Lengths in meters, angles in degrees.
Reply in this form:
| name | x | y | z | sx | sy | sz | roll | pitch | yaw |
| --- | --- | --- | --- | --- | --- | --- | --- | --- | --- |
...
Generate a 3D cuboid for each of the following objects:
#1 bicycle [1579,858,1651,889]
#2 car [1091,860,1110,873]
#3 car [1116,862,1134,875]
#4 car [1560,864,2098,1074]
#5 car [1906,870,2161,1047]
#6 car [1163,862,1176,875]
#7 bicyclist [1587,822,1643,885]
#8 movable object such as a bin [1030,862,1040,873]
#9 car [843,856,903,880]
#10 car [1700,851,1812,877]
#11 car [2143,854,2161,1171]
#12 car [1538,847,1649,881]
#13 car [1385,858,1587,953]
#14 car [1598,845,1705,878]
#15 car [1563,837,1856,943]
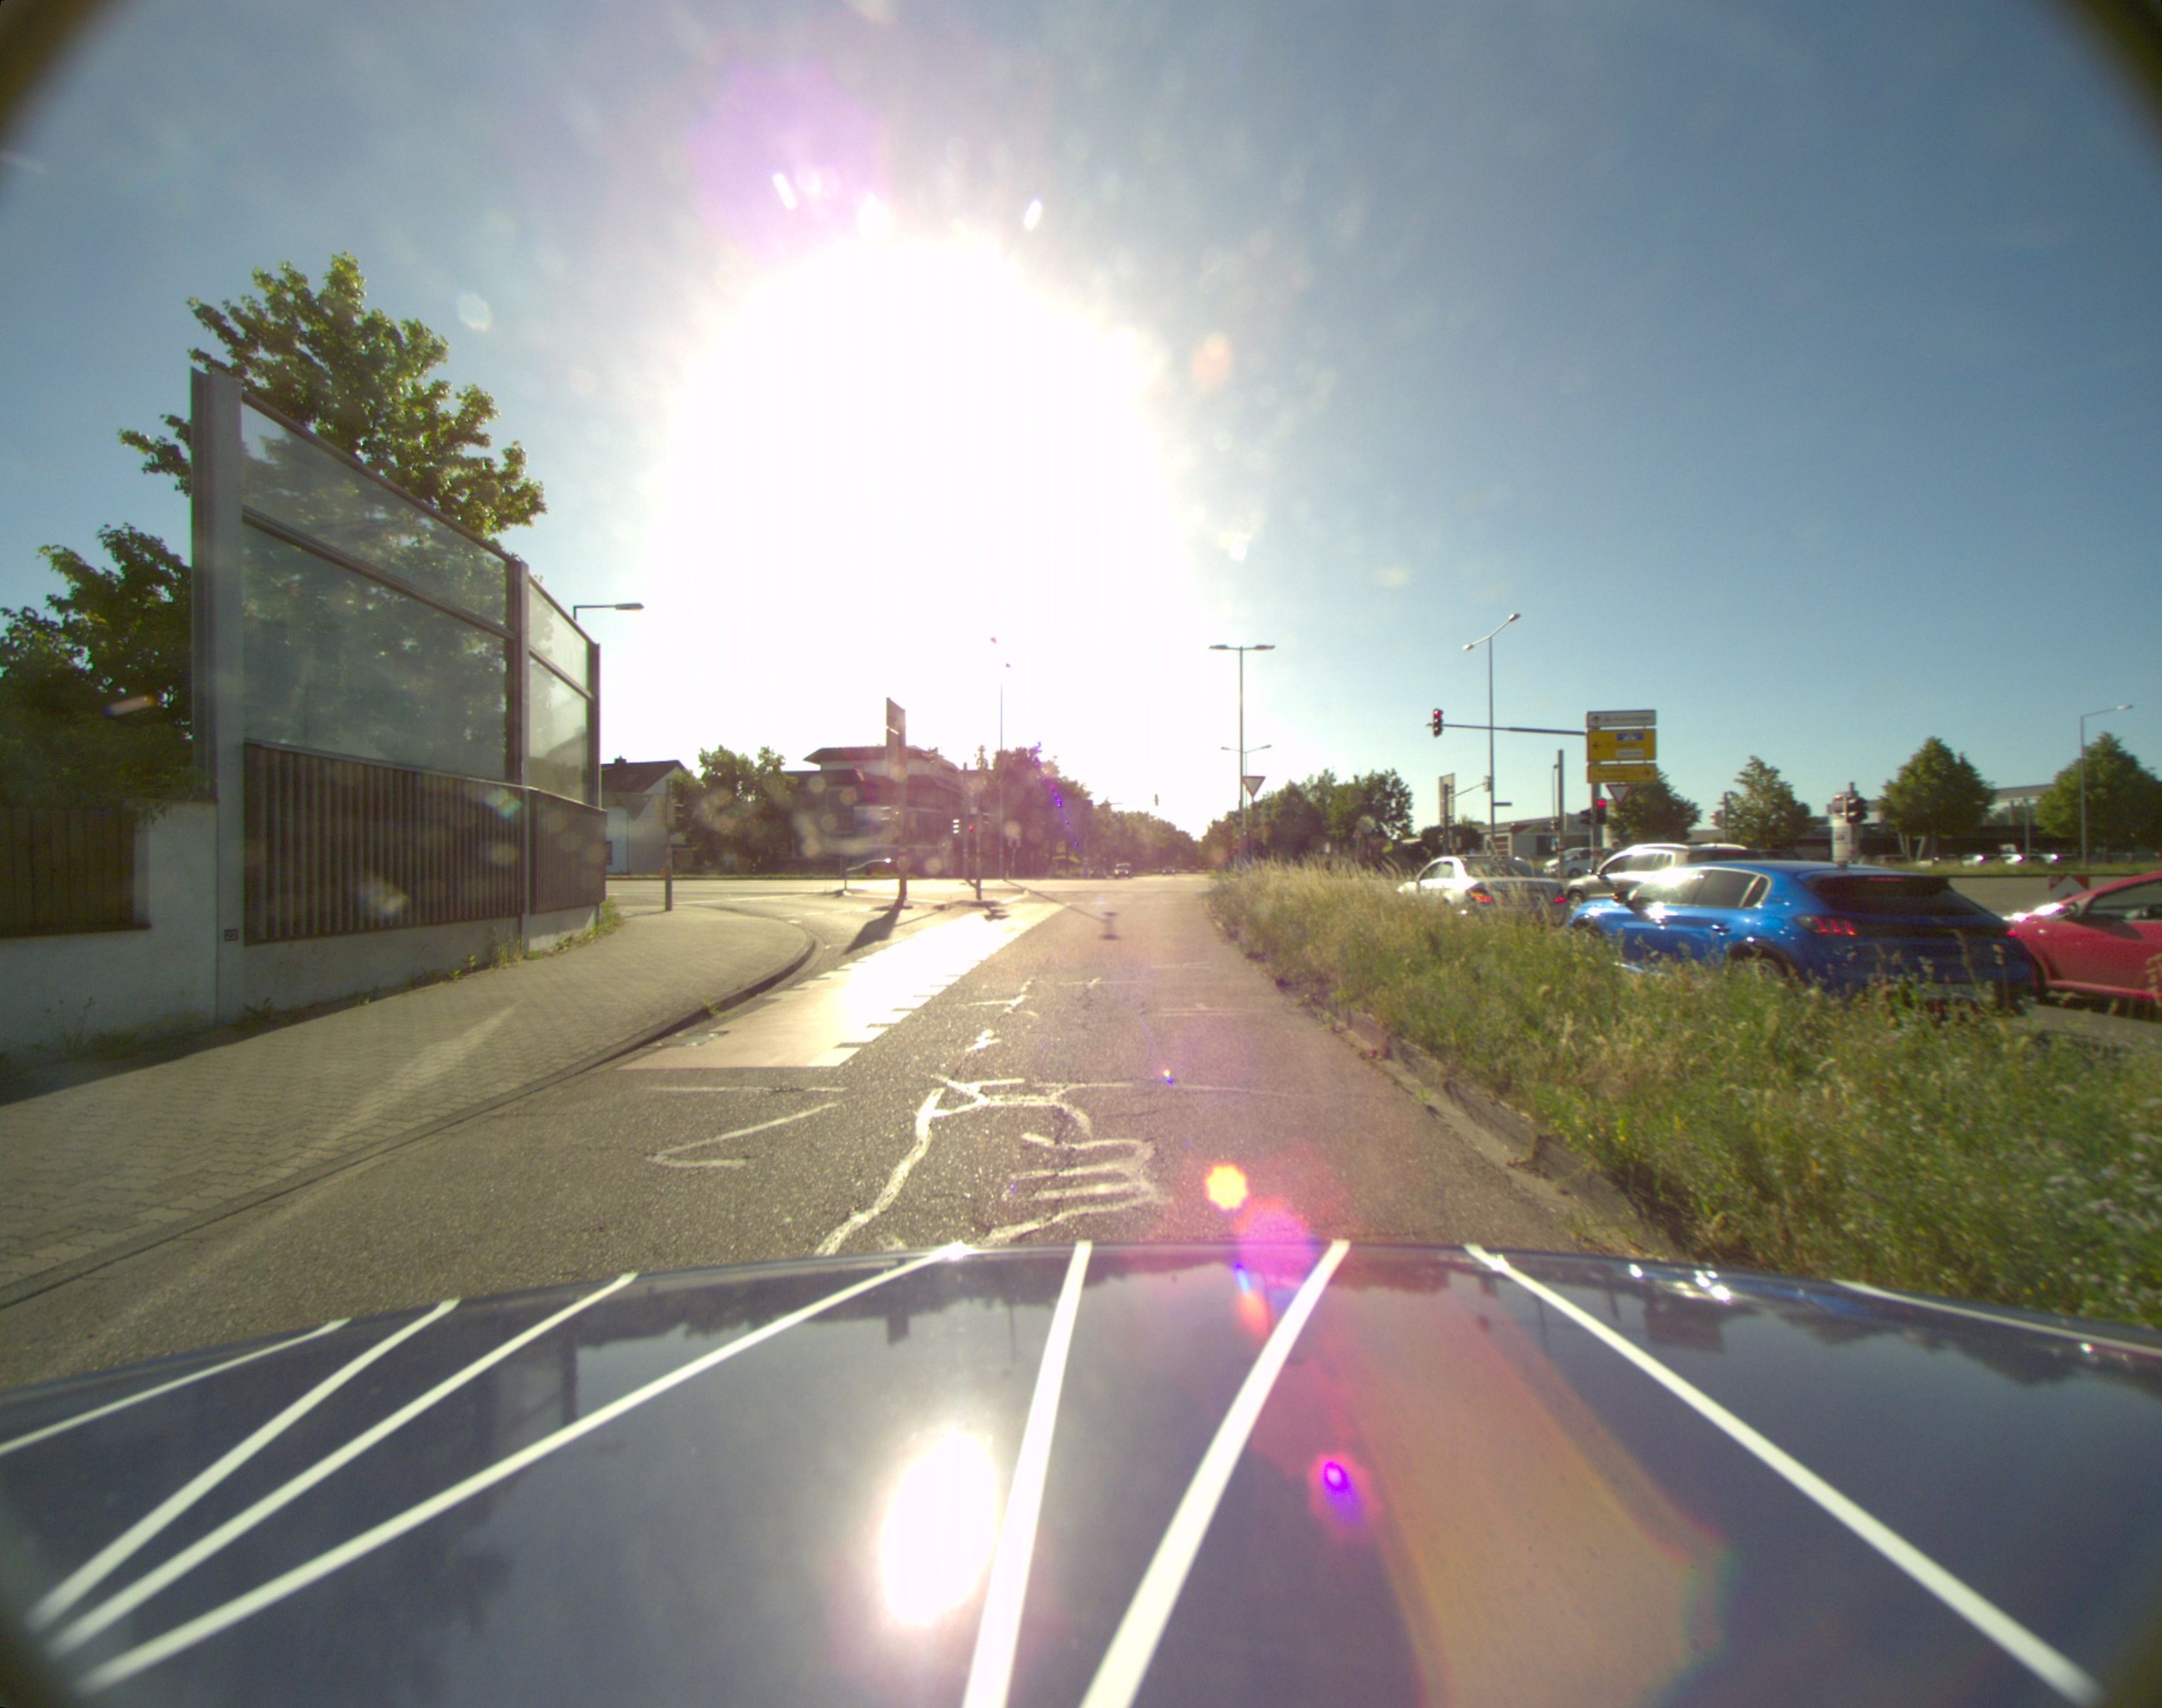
| name | x | y | z | sx | sy | sz | roll | pitch | yaw |
| --- | --- | --- | --- | --- | --- | --- | --- | --- | --- |
| bicycle | 14.989 | 0.522 | 21.392 | 0.750 | 0.842 | 1.991 | 0 | 0 | 5 |
| car | 2.370 | 1.430 | 90.463 | 1.775 | 1.477 | 4.218 | 1 | -1 | 8 |
| car | 5.304 | 1.775 | 91.389 | 1.775 | 1.477 | 4.218 | 1 | -1 | 8 |
| car | 6.700 | 0.864 | 7.534 | 1.750 | 1.474 | 3.889 | 0 | 0 | 6 |
| car | 10.127 | 0.915 | 6.805 | 1.649 | 1.474 | 3.715 | 0 | 0 | 6 |
| car | 13.575 | 2.192 | 116.506 | 1.729 | 2.002 | 4.001 | 0 | 0 | 4 |
| bicyclist | 14.972 | -0.015 | 21.346 | 0.746 | 1.692 | 1.242 | 0 | 1 | 5 |
| movable object such as a bin | -5.557 | 1.690 | 92.106 | 1.088 | 1.314 | 0.797 | -1 | 0 | 8 |
| car | -14.021 | 0.949 | 51.192 | 3.783 | 1.477 | 1.775 | -1 | -1 | -17 |
| car | 34.634 | 0.547 | 39.063 | 4.036 | 1.267 | 1.894 | 0 | -2 | 2 |
| car | 6.271 | 0.800 | 1.567 | 1.998 | 1.606 | 4.532 | 0 | 0 | 5 |
| car | 30.924 | 0.605 | 45.947 | 5.271 | 2.001 | 2.049 | 0 | -2 | 2 |
| car | 7.355 | 0.827 | 14.380 | 1.797 | 1.497 | 4.532 | 0 | 0 | 6 |
| car | 29.359 | 0.405 | 39.179 | 4.036 | 1.634 | 1.894 | 0 | -2 | 2 |
| car | 11.187 | 0.564 | 14.076 | 1.997 | 1.634 | 4.532 | 0 | 0 | 6 |
